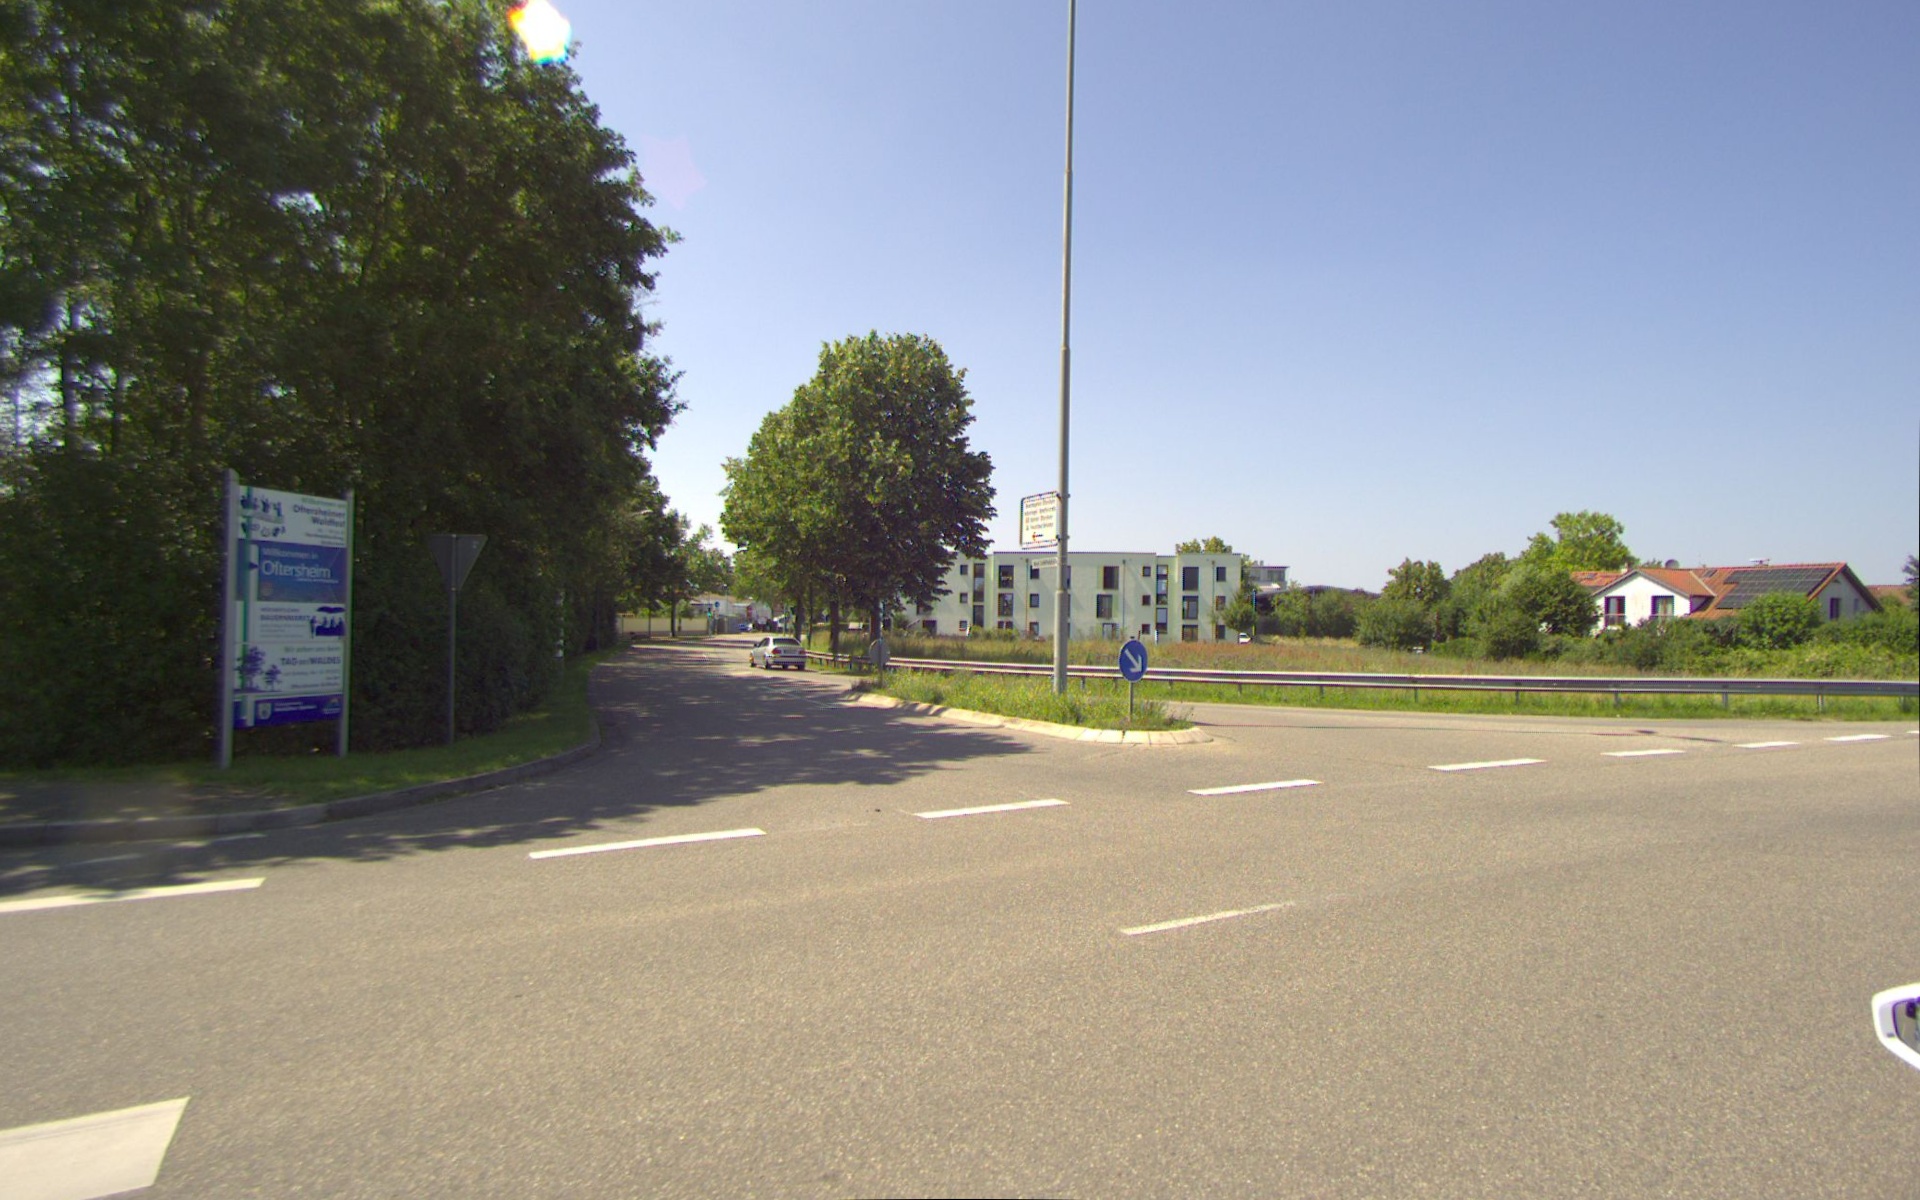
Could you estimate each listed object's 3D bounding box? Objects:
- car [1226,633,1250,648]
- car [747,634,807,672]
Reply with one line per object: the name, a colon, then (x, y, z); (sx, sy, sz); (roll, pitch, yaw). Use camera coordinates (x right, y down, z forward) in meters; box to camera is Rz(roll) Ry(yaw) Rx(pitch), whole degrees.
car: (31.579, 4.597, 114.277); (1.789, 1.639, 4.002); (1, -1, 4)
car: (-7.973, 2.239, 43.424); (1.618, 1.490, 4.391); (1, -1, -23)
